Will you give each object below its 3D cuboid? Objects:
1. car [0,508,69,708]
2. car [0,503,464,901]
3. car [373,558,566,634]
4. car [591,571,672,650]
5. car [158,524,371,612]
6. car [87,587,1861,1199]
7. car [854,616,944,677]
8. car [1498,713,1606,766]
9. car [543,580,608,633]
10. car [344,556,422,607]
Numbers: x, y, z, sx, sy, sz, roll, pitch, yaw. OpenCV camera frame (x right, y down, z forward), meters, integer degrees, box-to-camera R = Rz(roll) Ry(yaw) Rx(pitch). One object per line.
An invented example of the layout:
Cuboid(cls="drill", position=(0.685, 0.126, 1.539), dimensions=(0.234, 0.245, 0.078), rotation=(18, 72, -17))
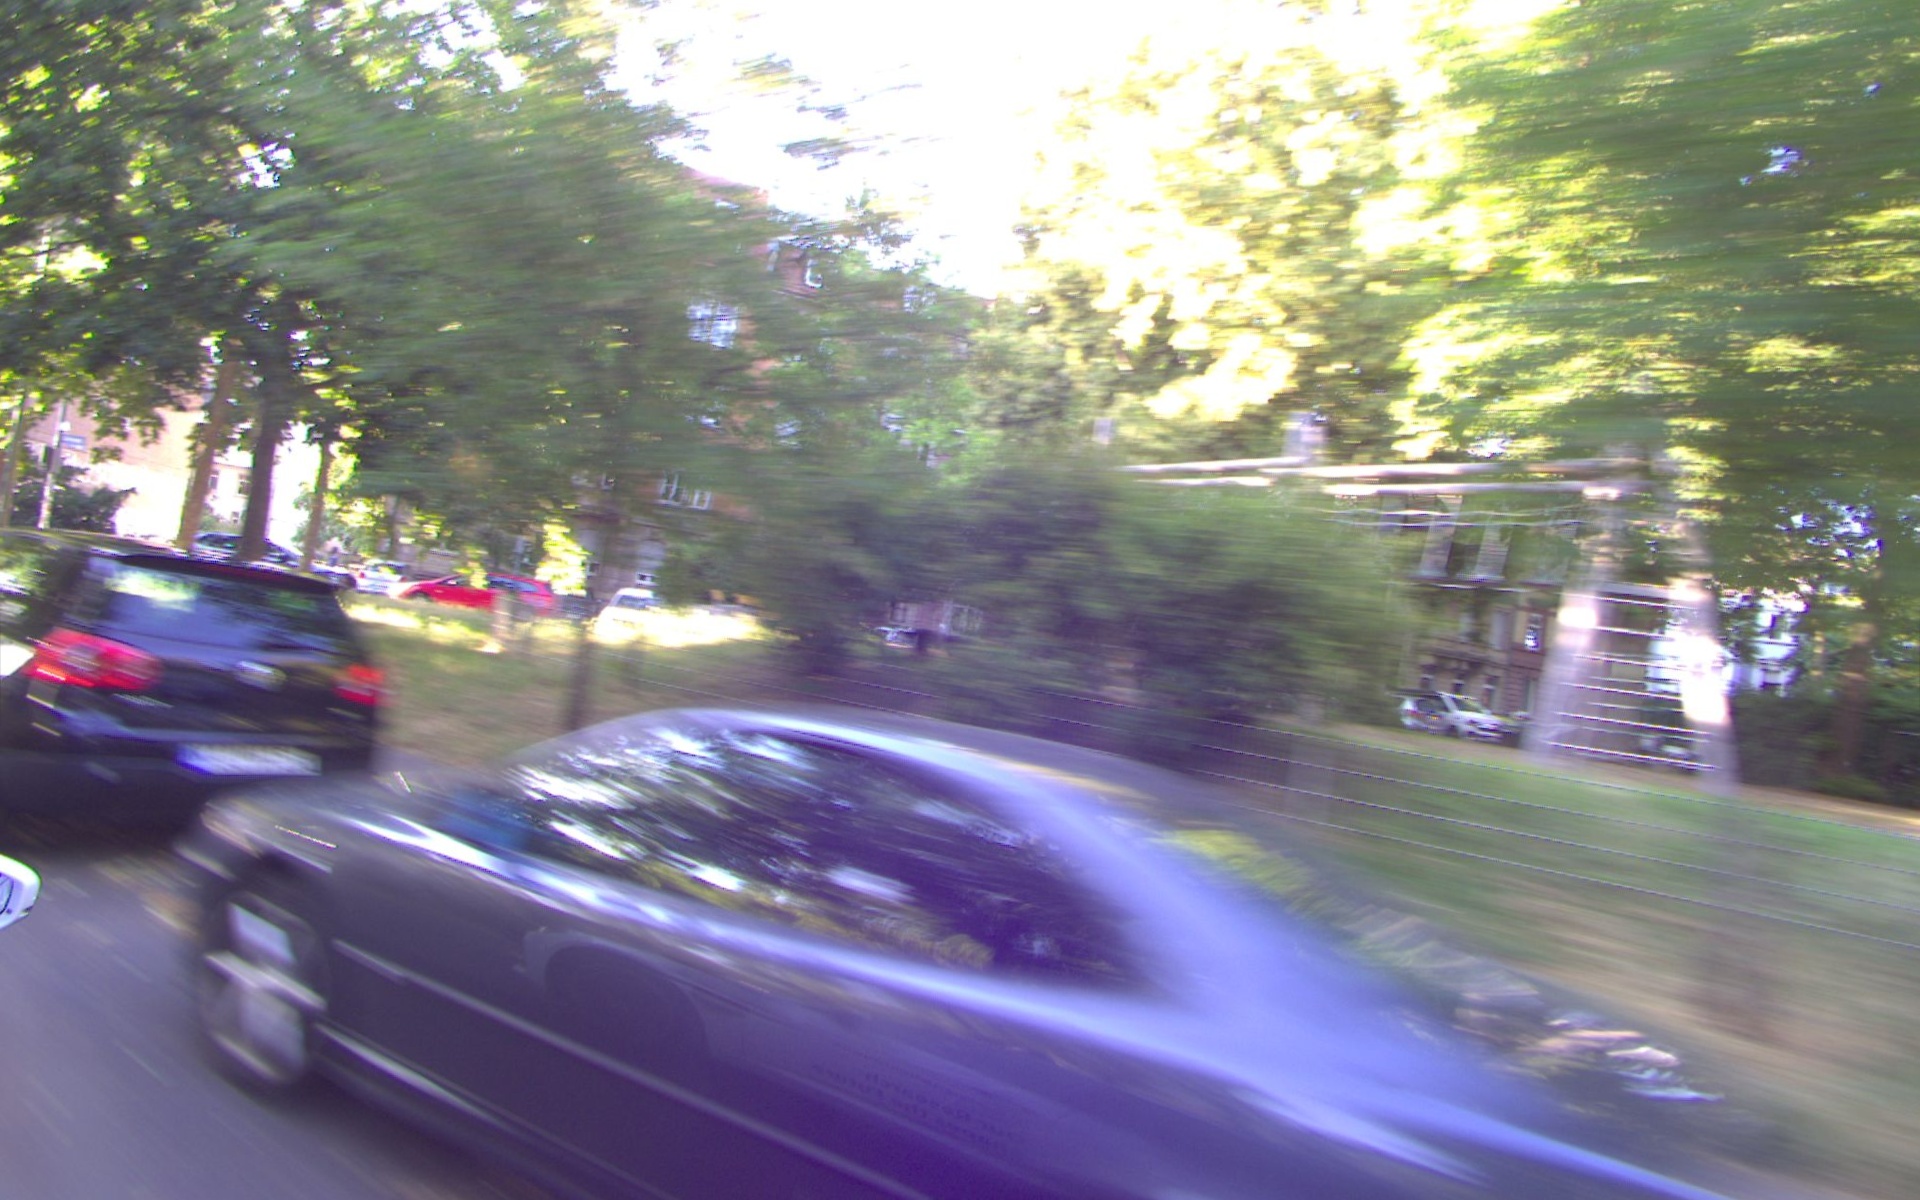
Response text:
Cuboid(cls="car", position=(-9.593, -0.222, 8.525), dimensions=(4.414, 1.542, 1.685), rotation=(7, -3, 31))
Cuboid(cls="car", position=(-5.000, 0.308, 5.788), dimensions=(4.216, 1.542, 1.685), rotation=(7, -3, 31))
Cuboid(cls="car", position=(-13.870, -0.060, 28.752), dimensions=(4.578, 1.464, 1.740), rotation=(9, -4, -17))
Cuboid(cls="car", position=(-9.236, 0.397, 28.572), dimensions=(1.707, 1.724, 4.398), rotation=(9, -6, -14))
Cuboid(cls="car", position=(-18.678, -0.808, 27.243), dimensions=(4.211, 1.567, 1.741), rotation=(9, -5, -14))
Cuboid(cls="car", position=(-0.468, 0.922, 2.928), dimensions=(4.214, 1.297, 1.686), rotation=(7, -3, 29))
Cuboid(cls="car", position=(-1.958, 1.485, 30.925), dimensions=(1.759, 1.506, 4.398), rotation=(9, -6, -14))
Cuboid(cls="car", position=(26.796, 6.326, 45.530), dimensions=(4.441, 1.651, 1.726), rotation=(9, -1, -21))
Cuboid(cls="car", position=(-14.356, 0.199, 37.405), dimensions=(1.886, 1.636, 3.757), rotation=(9, -2, -24))
Cuboid(cls="car", position=(-20.712, -0.704, 36.257), dimensions=(1.713, 1.490, 3.979), rotation=(9, -1, -22))
